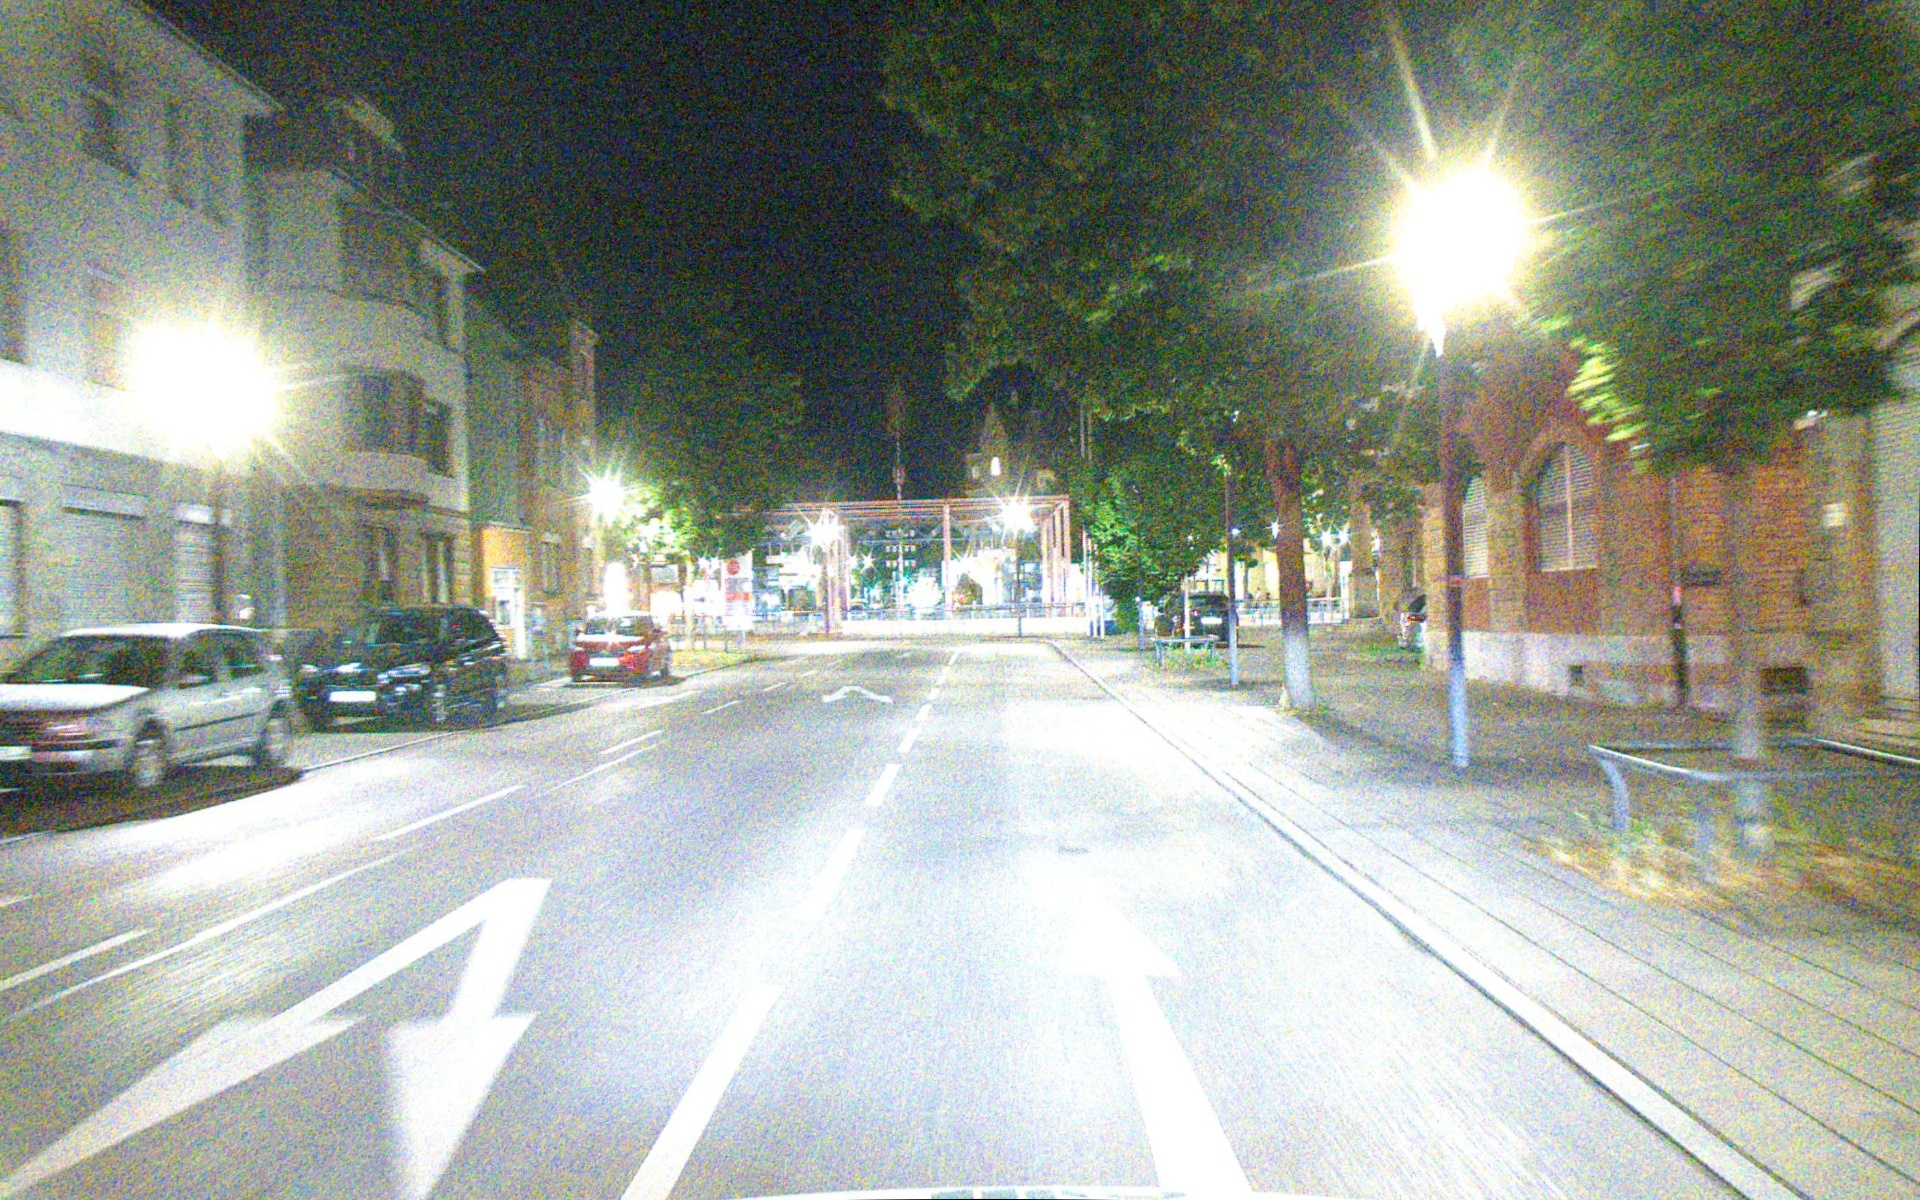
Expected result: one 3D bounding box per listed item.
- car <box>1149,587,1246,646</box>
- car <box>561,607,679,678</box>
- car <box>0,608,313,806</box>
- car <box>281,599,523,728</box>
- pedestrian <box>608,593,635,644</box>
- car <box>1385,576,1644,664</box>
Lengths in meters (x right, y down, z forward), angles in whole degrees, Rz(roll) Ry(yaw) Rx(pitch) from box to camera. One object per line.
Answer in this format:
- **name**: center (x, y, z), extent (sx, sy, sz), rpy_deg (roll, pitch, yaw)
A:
- **car**: center (6.338, 0.429, 44.622), extent (1.699, 1.485, 4.724), rpy_deg (-1, 0, -3)
- **car**: center (-7.335, 0.886, 36.028), extent (1.748, 1.440, 4.126), rpy_deg (0, 0, -1)
- **car**: center (-7.714, 0.864, 15.214), extent (1.747, 1.517, 4.001), rpy_deg (1, 0, 3)
- **car**: center (-7.753, 0.813, 23.454), extent (1.747, 1.609, 4.412), rpy_deg (1, 0, 2)
- **pedestrian**: center (-12.606, 0.698, 61.516), extent (0.680, 1.854, 0.721), rpy_deg (-1, -2, 44)
- **car**: center (10.404, 0.366, 31.287), extent (4.333, 1.485, 1.790), rpy_deg (-2, 0, 6)
